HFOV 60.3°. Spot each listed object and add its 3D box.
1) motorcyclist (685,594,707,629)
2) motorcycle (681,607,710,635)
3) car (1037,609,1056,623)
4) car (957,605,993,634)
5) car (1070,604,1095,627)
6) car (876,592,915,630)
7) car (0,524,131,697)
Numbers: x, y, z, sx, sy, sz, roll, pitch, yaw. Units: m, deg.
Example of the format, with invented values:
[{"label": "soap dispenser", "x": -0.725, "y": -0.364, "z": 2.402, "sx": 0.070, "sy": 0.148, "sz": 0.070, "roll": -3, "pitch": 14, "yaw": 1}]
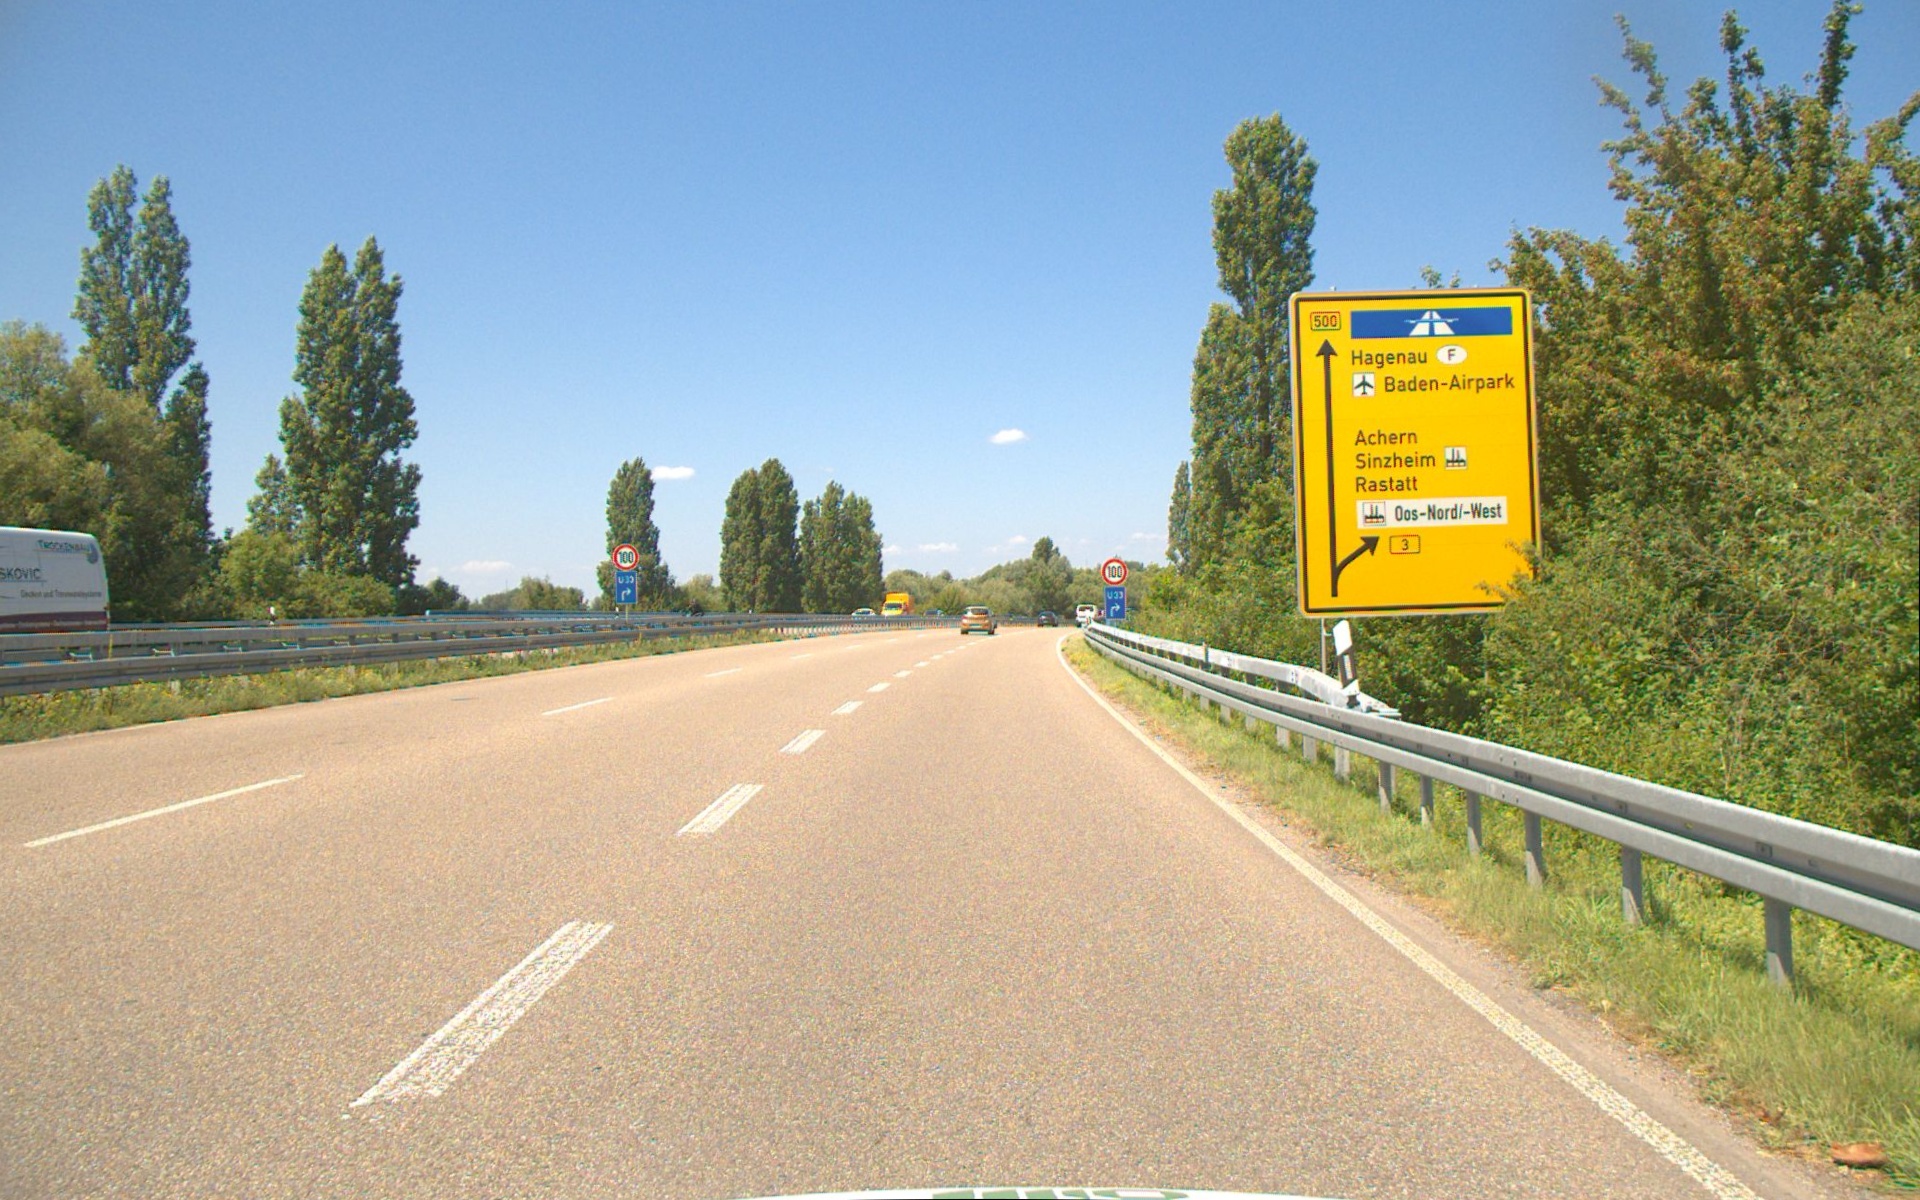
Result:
[{"label": "motorcyclist", "x": -11.294, "y": 0.486, "z": 70.726, "sx": 0.775, "sy": 1.459, "sz": 0.767, "roll": -1, "pitch": -2, "yaw": 1}, {"label": "motorcycle", "x": -11.300, "y": 0.911, "z": 70.701, "sx": 0.775, "sy": 1.164, "sz": 2.529, "roll": -1, "pitch": -1, "yaw": 1}, {"label": "car", "x": 9.345, "y": 1.694, "z": 178.866, "sx": 1.902, "sy": 1.489, "sz": 4.003, "roll": 1, "pitch": 0, "yaw": 5}, {"label": "car", "x": 0.832, "y": 1.035, "z": 89.327, "sx": 1.803, "sy": 1.489, "sz": 4.001, "roll": 1, "pitch": 0, "yaw": 2}, {"label": "car", "x": 10.938, "y": 1.370, "z": 147.505, "sx": 1.802, "sy": 1.928, "sz": 4.003, "roll": 1, "pitch": 0, "yaw": 9}, {"label": "car", "x": -5.812, "y": 1.032, "z": 150.608, "sx": 2.256, "sy": 3.349, "sz": 7.034, "roll": -1, "pitch": 0, "yaw": 8}, {"label": "car", "x": -16.705, "y": 0.192, "z": 27.316, "sx": 2.232, "sy": 2.822, "sz": 7.222, "roll": -1, "pitch": -1, "yaw": 1}]
